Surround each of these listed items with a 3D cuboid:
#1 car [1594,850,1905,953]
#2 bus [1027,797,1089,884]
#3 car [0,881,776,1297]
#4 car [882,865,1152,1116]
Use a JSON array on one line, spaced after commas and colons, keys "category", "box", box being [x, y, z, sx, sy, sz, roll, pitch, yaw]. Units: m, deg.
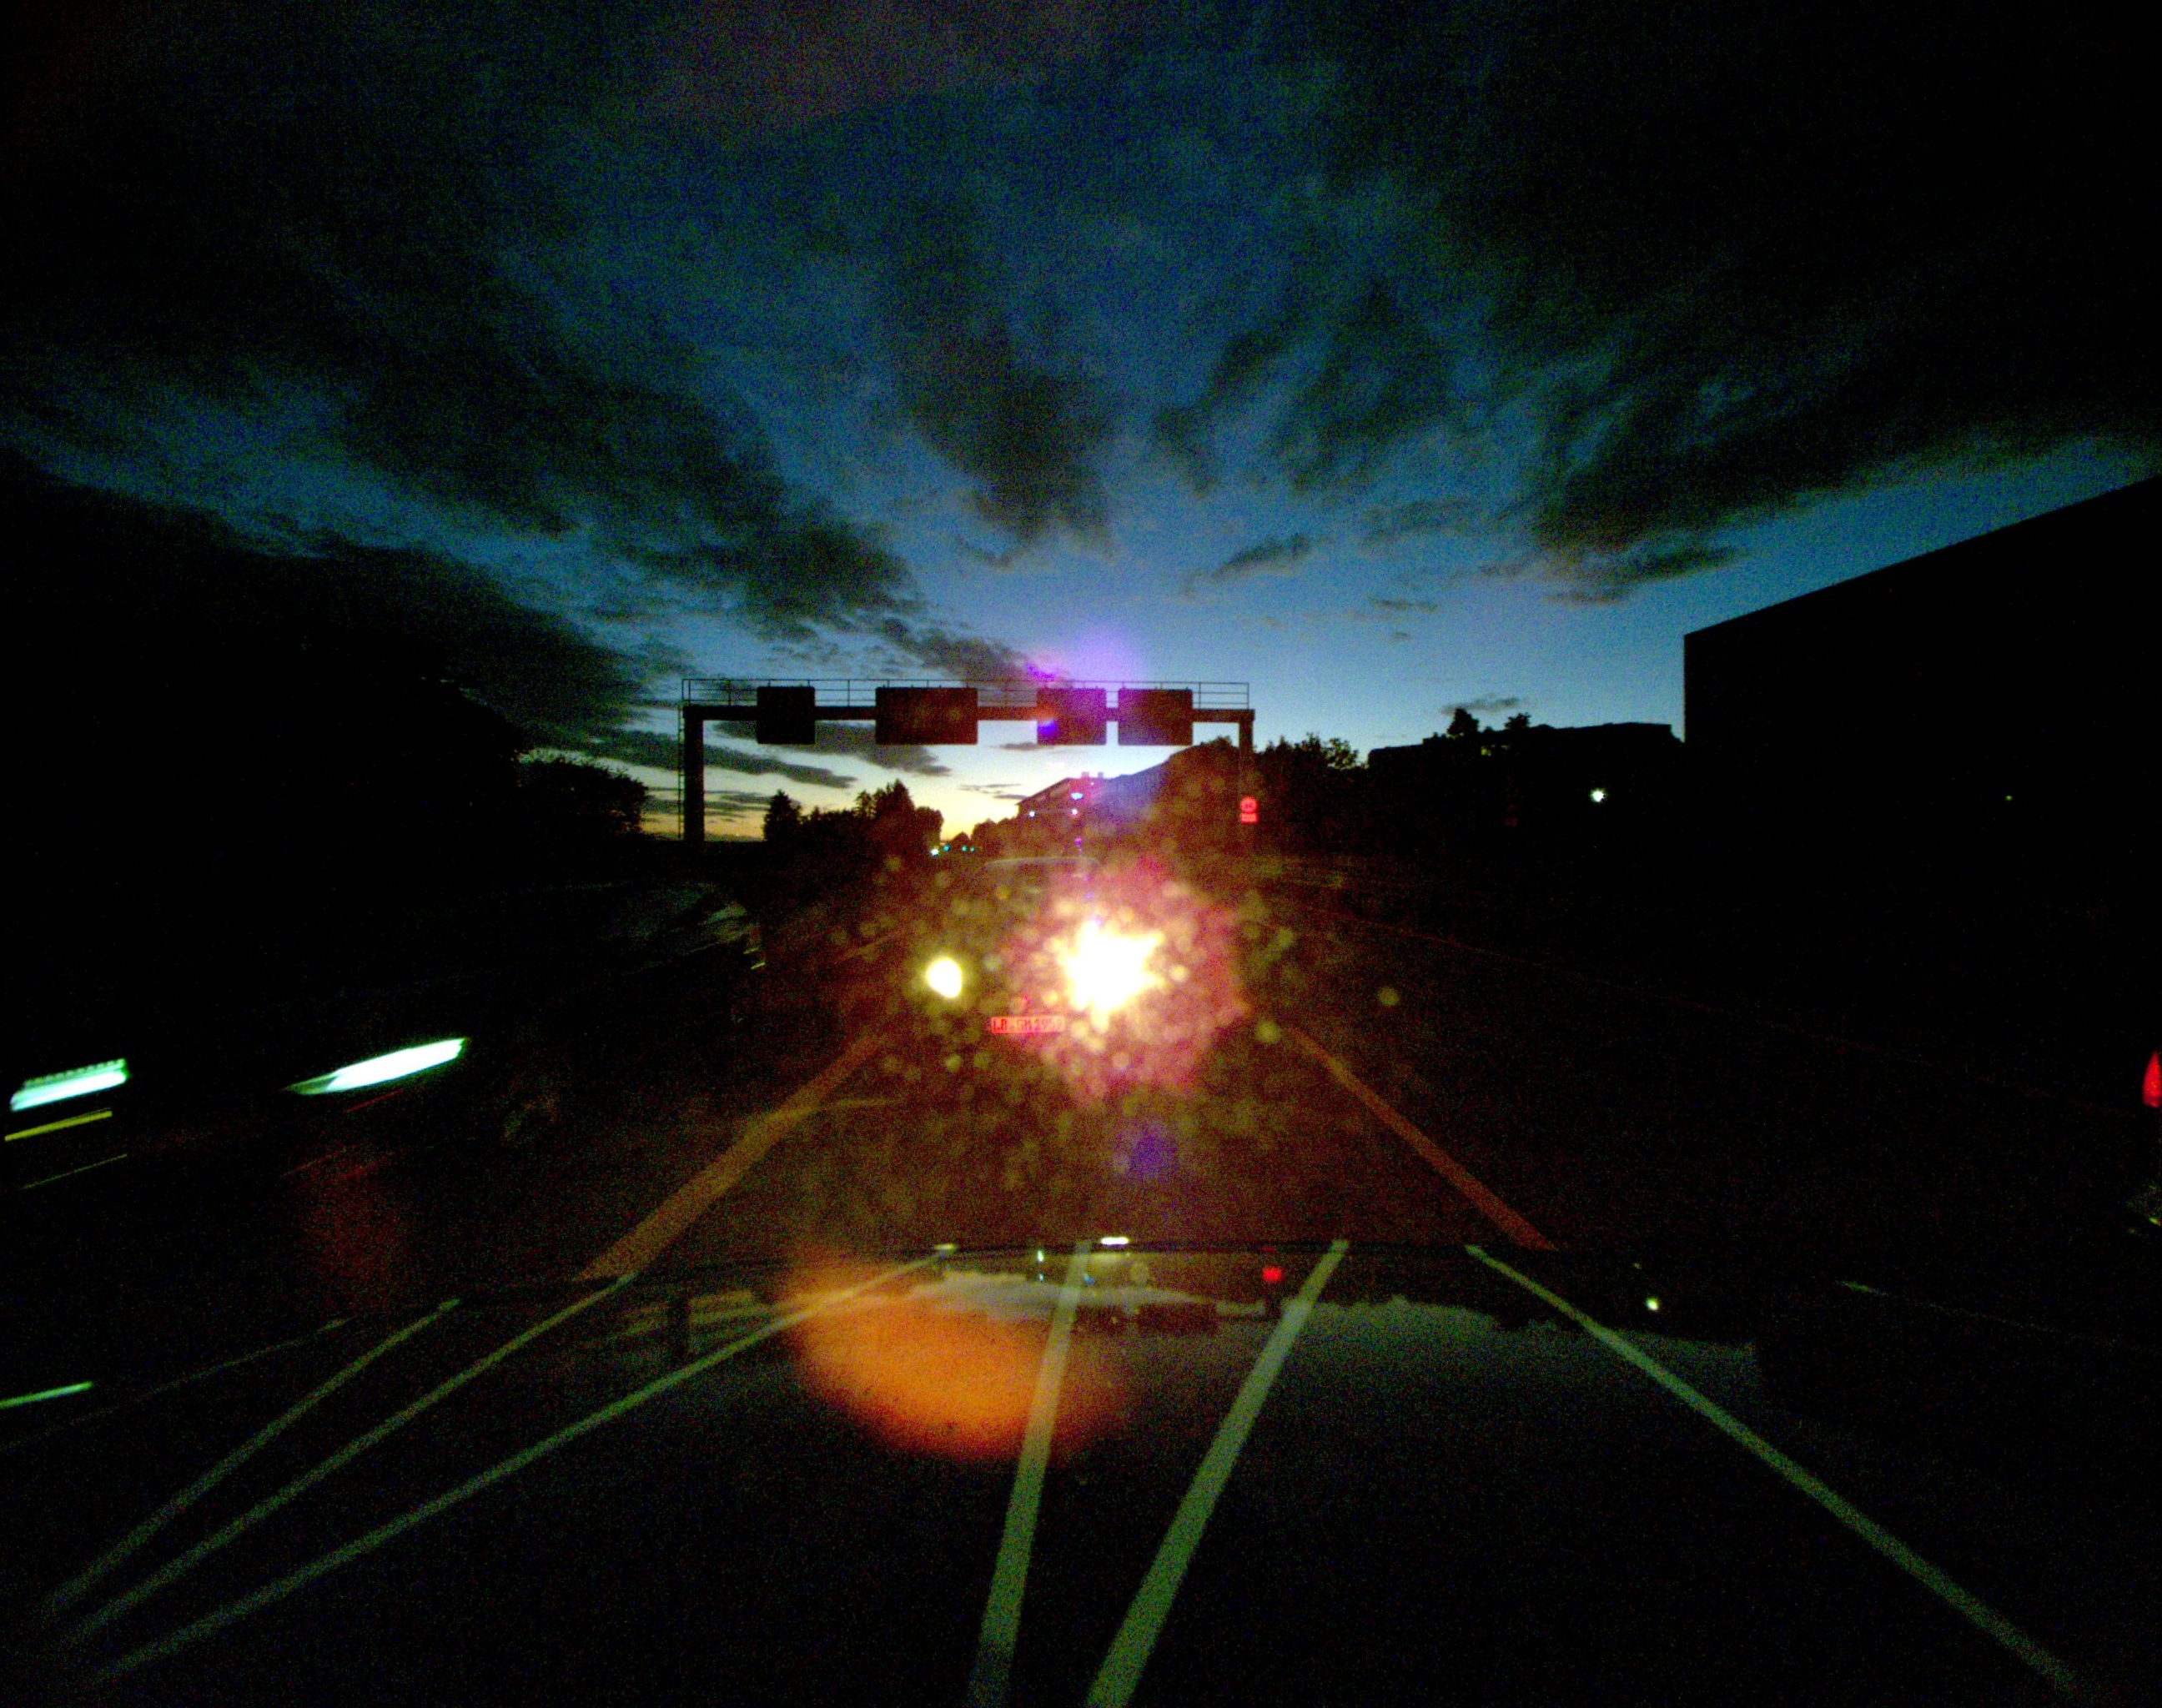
[{"category": "car", "box": [10.786, 0.661, 12.747, 1.761, 1.435, 4.110, -1, 0, 3]}, {"category": "bus", "box": [-1.405, -0.642, 39.734, 2.614, 3.768, 12.270, -2, 1, -4]}, {"category": "car", "box": [-3.844, 1.033, 5.371, 1.795, 1.435, 4.532, -2, 0, -4]}, {"category": "car", "box": [-0.300, 0.900, 6.683, 1.669, 1.472, 3.777, -2, 0, 3]}]
